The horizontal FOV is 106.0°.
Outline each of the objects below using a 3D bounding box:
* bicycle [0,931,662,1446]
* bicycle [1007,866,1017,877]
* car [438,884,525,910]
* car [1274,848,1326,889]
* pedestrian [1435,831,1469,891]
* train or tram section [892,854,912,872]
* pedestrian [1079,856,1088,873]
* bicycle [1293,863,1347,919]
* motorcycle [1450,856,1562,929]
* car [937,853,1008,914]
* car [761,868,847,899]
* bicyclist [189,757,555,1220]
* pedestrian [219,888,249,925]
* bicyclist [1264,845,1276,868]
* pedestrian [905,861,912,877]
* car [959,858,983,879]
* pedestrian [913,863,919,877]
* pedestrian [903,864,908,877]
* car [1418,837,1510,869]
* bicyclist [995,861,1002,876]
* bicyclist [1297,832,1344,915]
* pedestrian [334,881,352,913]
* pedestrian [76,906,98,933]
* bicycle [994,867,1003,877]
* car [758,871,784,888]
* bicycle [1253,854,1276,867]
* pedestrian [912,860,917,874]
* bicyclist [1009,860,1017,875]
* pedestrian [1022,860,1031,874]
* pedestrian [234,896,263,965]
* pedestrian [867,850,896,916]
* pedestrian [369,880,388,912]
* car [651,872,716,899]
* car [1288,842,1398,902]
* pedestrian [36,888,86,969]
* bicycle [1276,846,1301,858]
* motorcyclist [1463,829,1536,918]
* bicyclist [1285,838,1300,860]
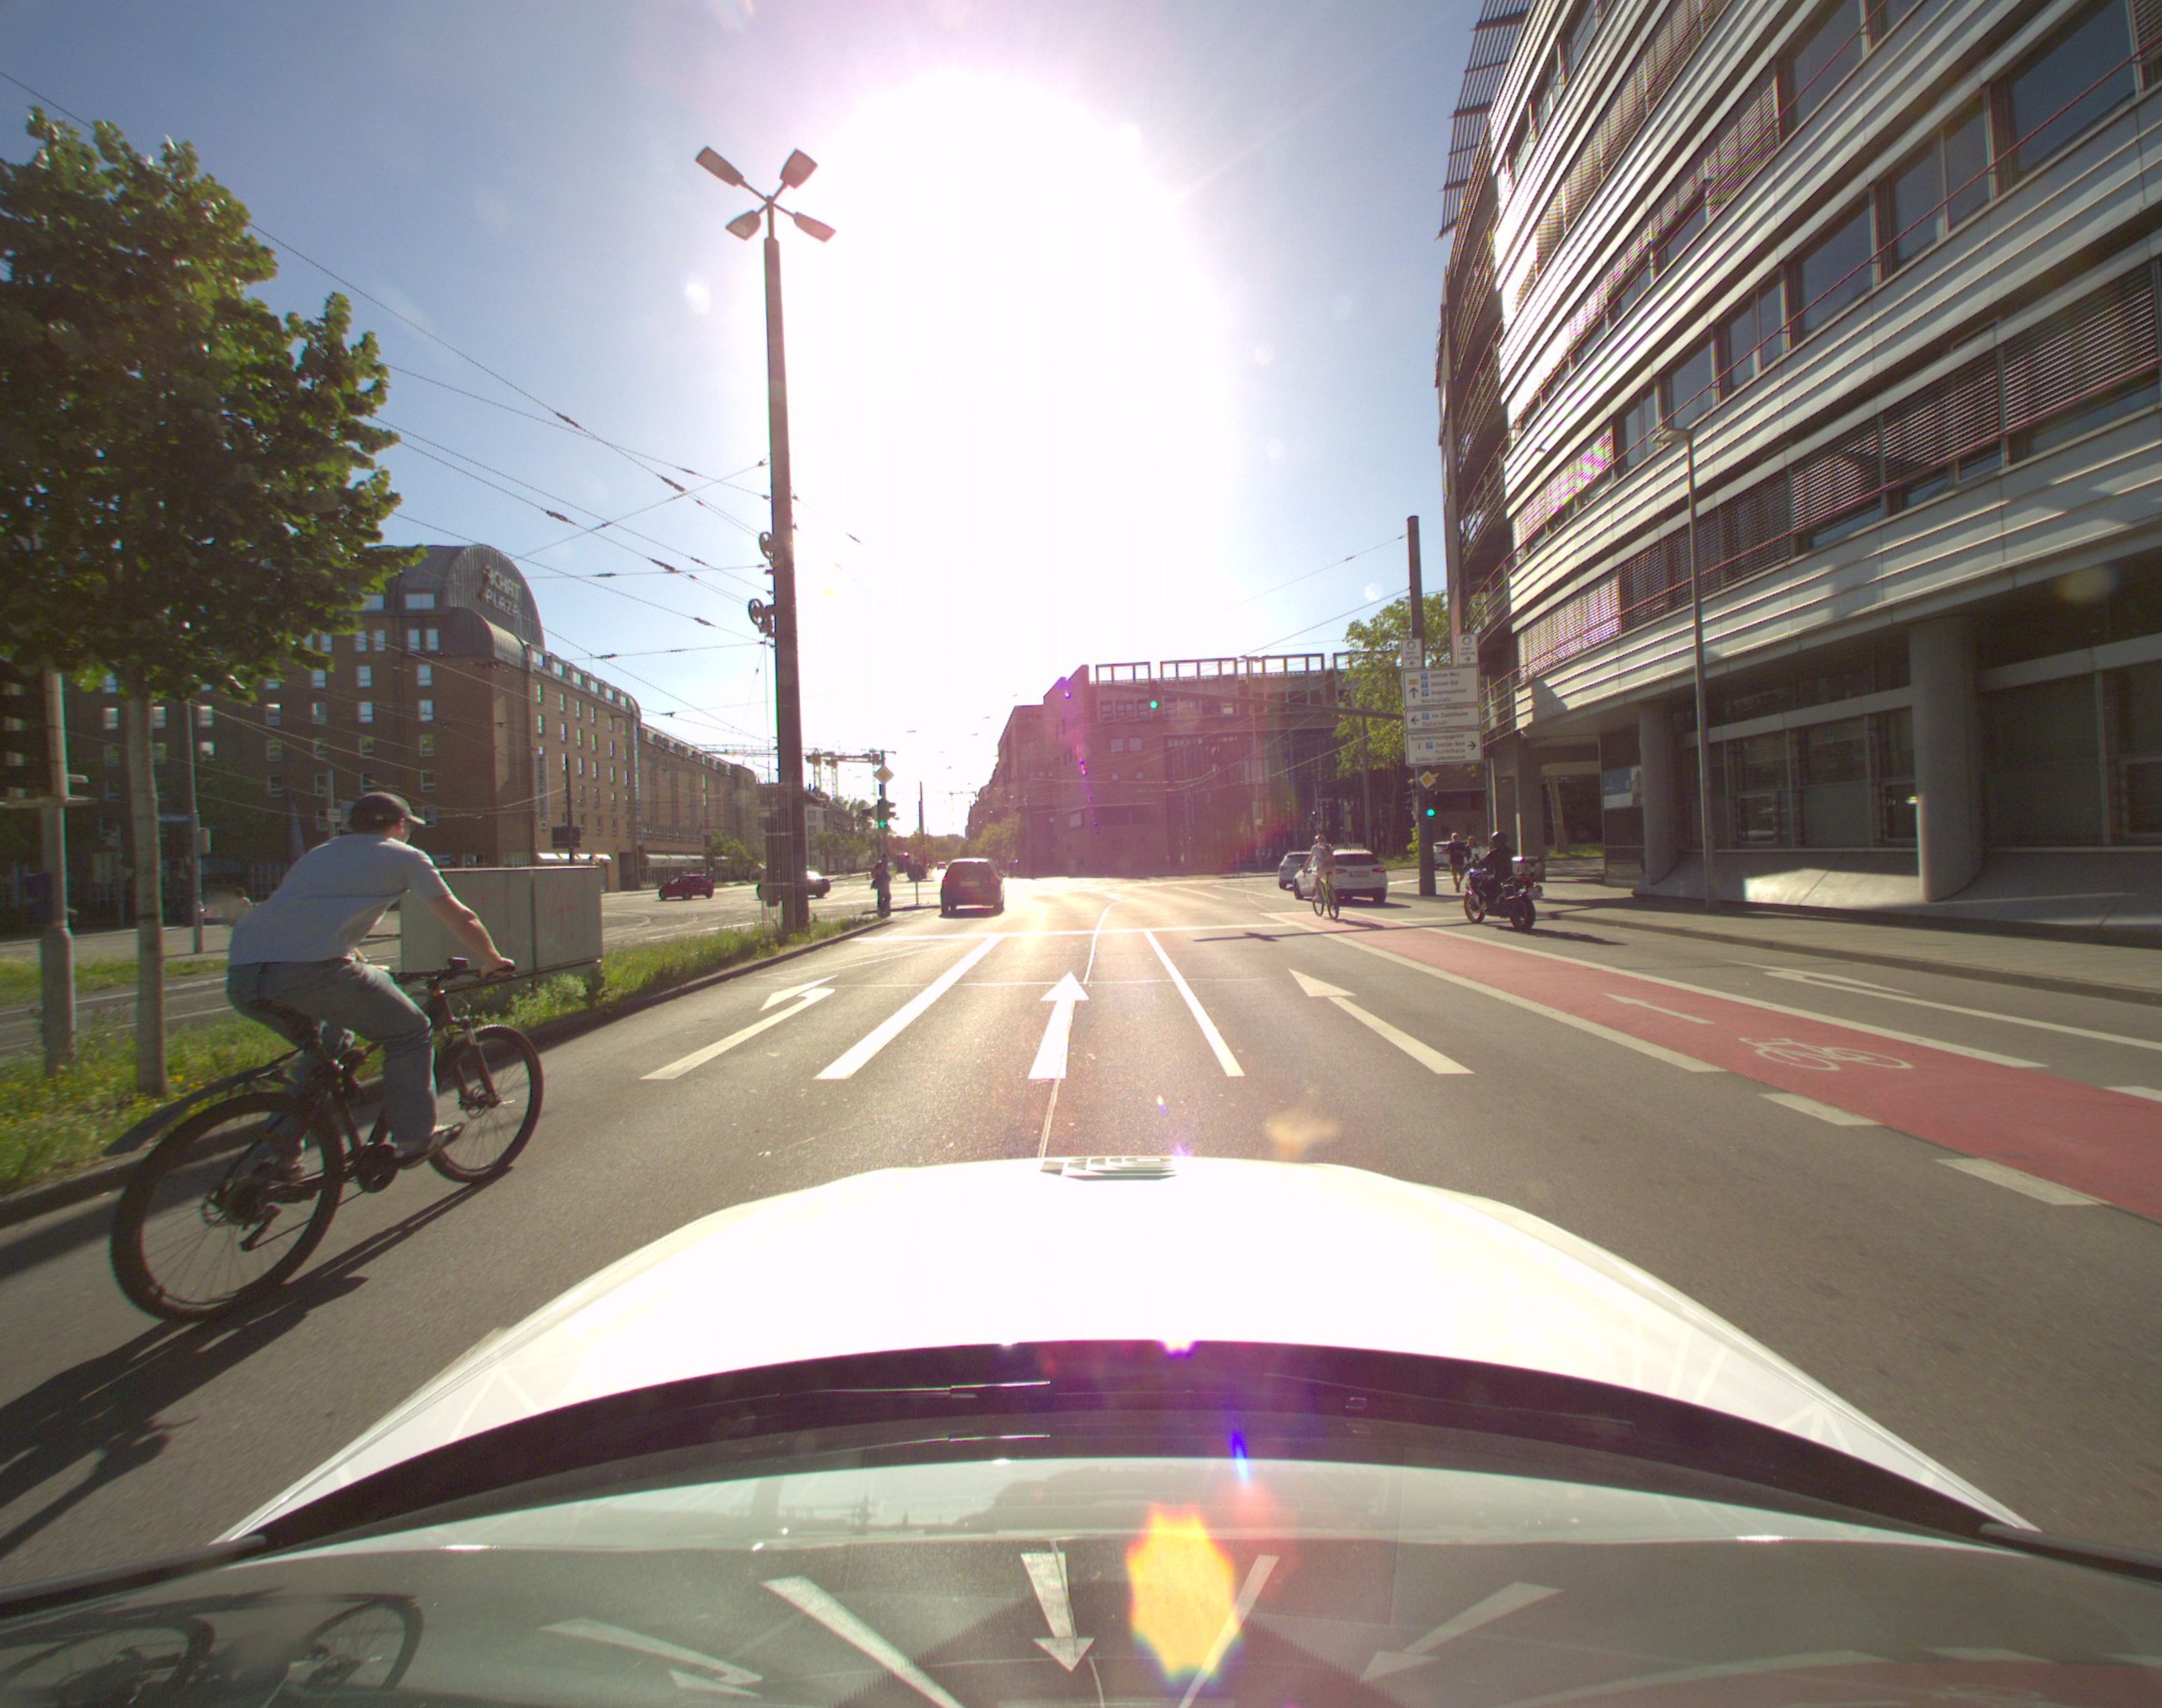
[{"bbox_3d":[-2.882,1.000,3.467,0.684,1.069,2.699,-1,0,2],"label":"bicycle"},{"bbox_3d":[-6.555,1.676,77.326,0.603,0.985,2.304,-2,-1,-12],"label":"bicycle"},{"bbox_3d":[-38.745,2.781,52.642,4.369,1.381,2.074,-3,0,11],"label":"car"},{"bbox_3d":[8.926,0.535,33.269,1.892,1.541,4.154,-1,0,15],"label":"car"},{"bbox_3d":[11.481,0.215,25.187,0.611,1.798,0.633,-4,1,-35],"label":"pedestrian"},{"bbox_3d":[-32.625,1.563,149.080,2.325,3.003,13.124,-2,0,-8],"label":"train or tram section"},{"bbox_3d":[0.271,1.030,78.753,0.618,1.563,0.982,-2,-1,-13],"label":"pedestrian"},{"bbox_3d":[5.265,0.785,18.044,0.647,1.110,1.758,-3,1,0],"label":"bicycle"},{"bbox_3d":[7.686,0.659,14.877,0.826,1.201,2.391,-1,-1,1],"label":"motorcycle"},{"bbox_3d":[-3.084,0.800,23.839,1.723,1.564,3.673,-3,0,-3],"label":"car"},{"bbox_3d":[-15.048,1.601,44.256,4.464,1.449,1.742,-3,0,27],"label":"car"},{"bbox_3d":[-2.896,0.486,3.455,0.615,1.669,1.020,-1,0,2],"label":"bicyclist"},{"bbox_3d":[-46.532,2.879,44.751,0.701,1.932,0.902,-3,0,-11],"label":"pedestrian"},{"bbox_3d":[15.527,0.217,66.793,0.608,1.884,0.646,-3,-1,-20],"label":"bicyclist"},{"bbox_3d":[-19.214,1.637,90.632,0.615,1.669,0.860,-5,1,-13],"label":"pedestrian"},{"bbox_3d":[-10.999,1.468,81.387,1.996,1.948,3.982,-3,0,-13],"label":"car"},{"bbox_3d":[-20.248,1.928,99.875,0.539,1.655,0.892,-3,-1,-13],"label":"pedestrian"},{"bbox_3d":[-21.487,2.046,99.646,0.601,1.566,0.910,-3,-1,-13],"label":"pedestrian"},{"bbox_3d":[19.677,-0.074,41.902,3.990,1.583,1.905,-1,1,-12],"label":"car"},{"bbox_3d":[-8.838,1.533,87.325,0.668,1.527,0.703,-2,-1,-13],"label":"bicyclist"},{"bbox_3d":[5.254,0.414,17.918,0.647,1.752,1.045,-3,1,0],"label":"bicyclist"},{"bbox_3d":[-45.087,2.641,49.750,0.519,1.932,0.531,-3,0,15],"label":"pedestrian"},{"bbox_3d":[-73.049,4.812,59.842,0.558,1.932,0.831,-3,-1,-8],"label":"pedestrian"},{"bbox_3d":[-8.838,1.917,87.388,0.668,0.985,2.574,-2,-1,-12],"label":"bicycle"},{"bbox_3d":[-31.200,2.530,81.961,1.610,1.398,3.905,-6,1,-10],"label":"car"},{"bbox_3d":[15.059,0.540,66.741,1.674,0.994,0.669,-3,-1,-20],"label":"bicycle"},{"bbox_3d":[-20.369,1.629,99.841,0.539,1.655,0.703,-3,-1,-13],"label":"pedestrian"},{"bbox_3d":[-6.464,1.294,76.854,0.593,1.335,0.929,-2,-1,-13],"label":"bicyclist"},{"bbox_3d":[-6.608,1.612,99.286,0.881,1.717,0.927,-3,-1,-13],"label":"pedestrian"},{"bbox_3d":[-22.812,2.080,22.329,0.387,1.831,0.459,-2,0,-30],"label":"pedestrian"},{"bbox_3d":[-5.460,0.780,22.341,0.670,1.753,0.766,-2,0,-11],"label":"pedestrian"},{"bbox_3d":[-43.778,2.586,50.768,0.523,1.932,0.748,-3,0,-11],"label":"pedestrian"},{"bbox_3d":[-23.898,1.908,48.948,3.539,1.449,1.669,-3,0,27],"label":"car"},{"bbox_3d":[7.632,0.474,24.157,1.900,1.583,4.137,-1,0,0],"label":"car"},{"bbox_3d":[-23.992,1.741,19.163,0.585,1.831,0.492,-2,0,-37],"label":"pedestrian"},{"bbox_3d":[15.622,-0.131,61.314,1.668,0.806,0.671,-3,-1,-10],"label":"bicycle"},{"bbox_3d":[7.656,0.343,14.941,0.826,1.561,0.942,-1,-1,1],"label":"motorcyclist"},{"bbox_3d":[15.948,-0.360,61.362,0.863,1.630,0.669,-3,-1,-10],"label":"bicyclist"}]
